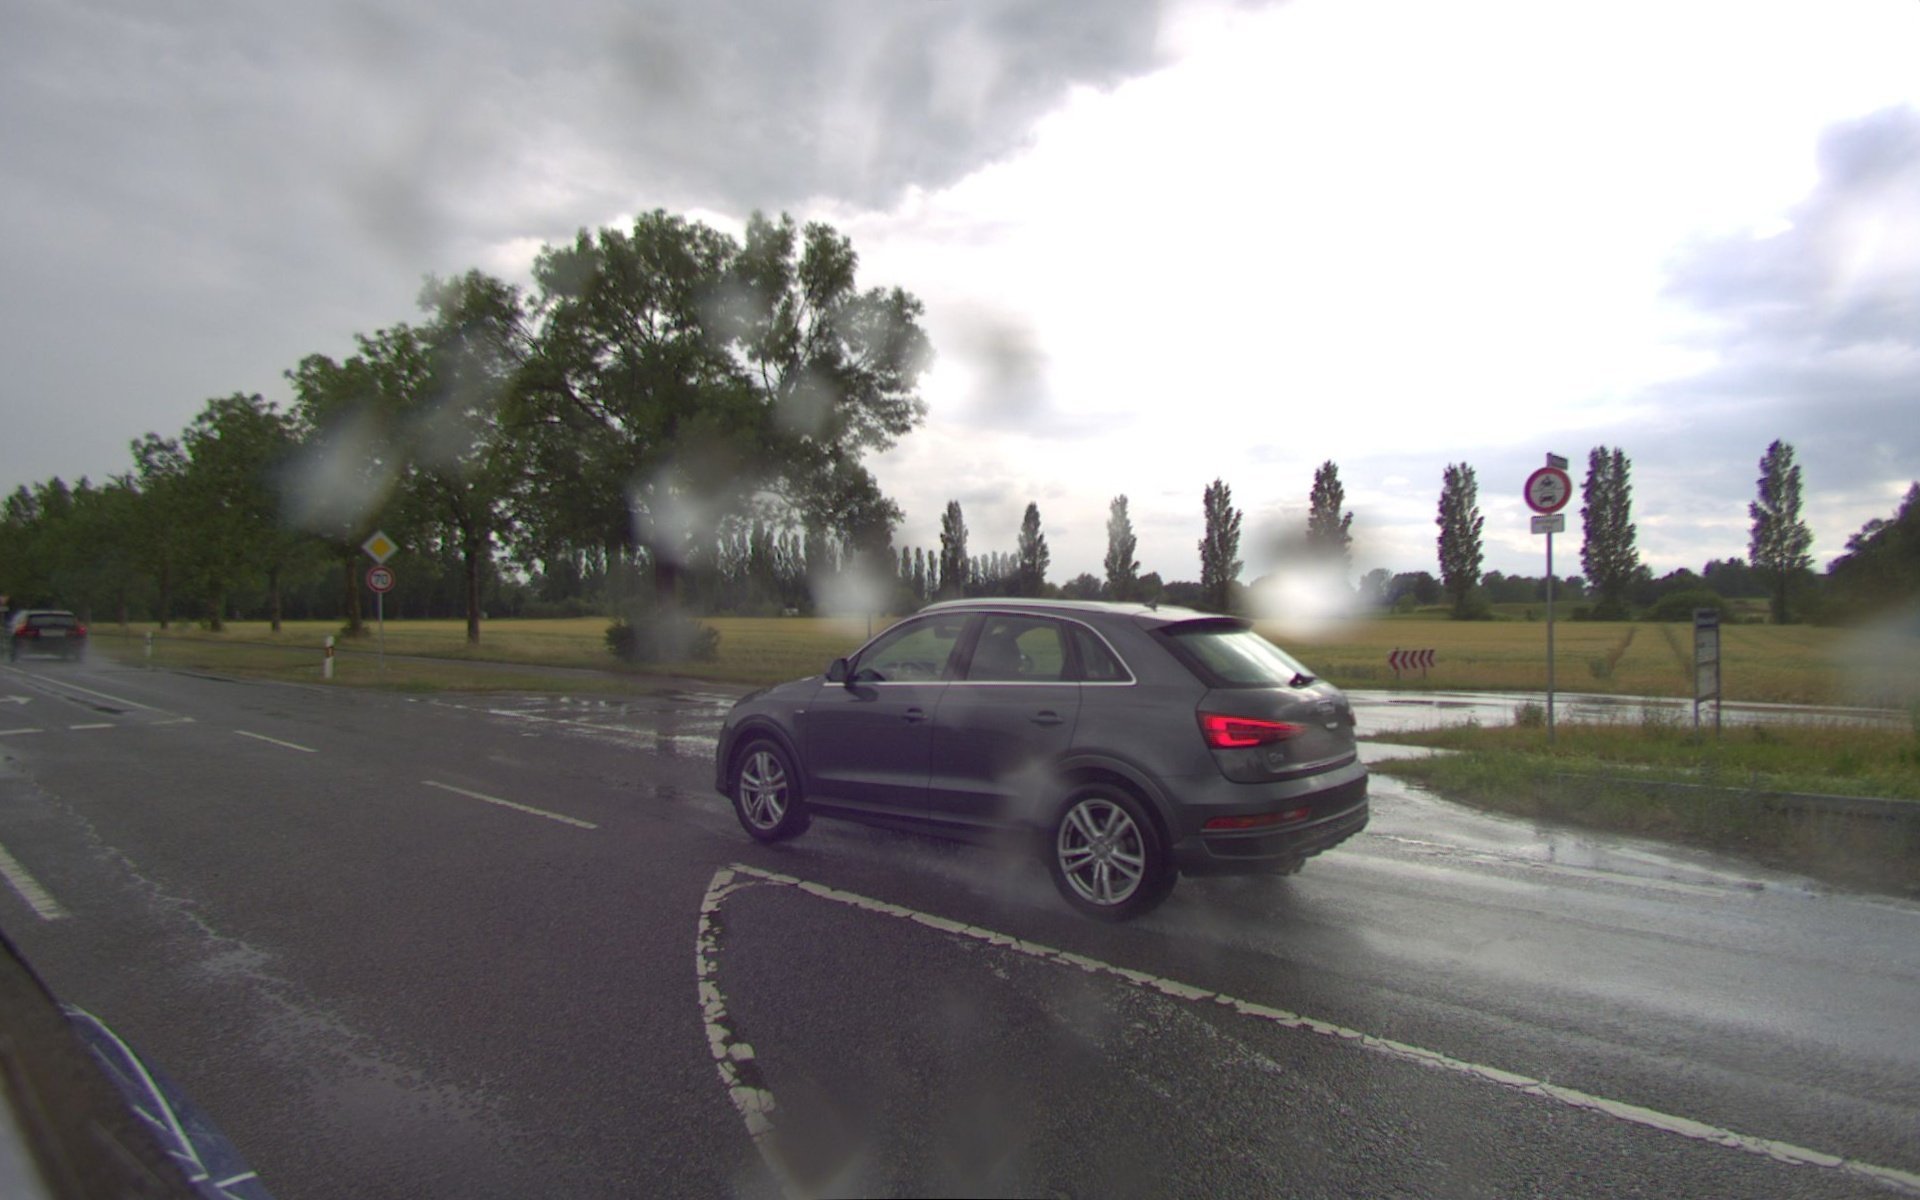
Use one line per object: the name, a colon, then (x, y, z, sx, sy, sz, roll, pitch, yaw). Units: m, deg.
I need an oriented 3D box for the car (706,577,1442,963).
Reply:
car: (0.434, 0.739, 6.080, 4.139, 1.535, 1.750, -1, -3, 41)

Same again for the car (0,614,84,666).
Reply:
car: (-30.768, 1.281, 33.593, 4.440, 1.592, 1.924, -1, -1, 41)
